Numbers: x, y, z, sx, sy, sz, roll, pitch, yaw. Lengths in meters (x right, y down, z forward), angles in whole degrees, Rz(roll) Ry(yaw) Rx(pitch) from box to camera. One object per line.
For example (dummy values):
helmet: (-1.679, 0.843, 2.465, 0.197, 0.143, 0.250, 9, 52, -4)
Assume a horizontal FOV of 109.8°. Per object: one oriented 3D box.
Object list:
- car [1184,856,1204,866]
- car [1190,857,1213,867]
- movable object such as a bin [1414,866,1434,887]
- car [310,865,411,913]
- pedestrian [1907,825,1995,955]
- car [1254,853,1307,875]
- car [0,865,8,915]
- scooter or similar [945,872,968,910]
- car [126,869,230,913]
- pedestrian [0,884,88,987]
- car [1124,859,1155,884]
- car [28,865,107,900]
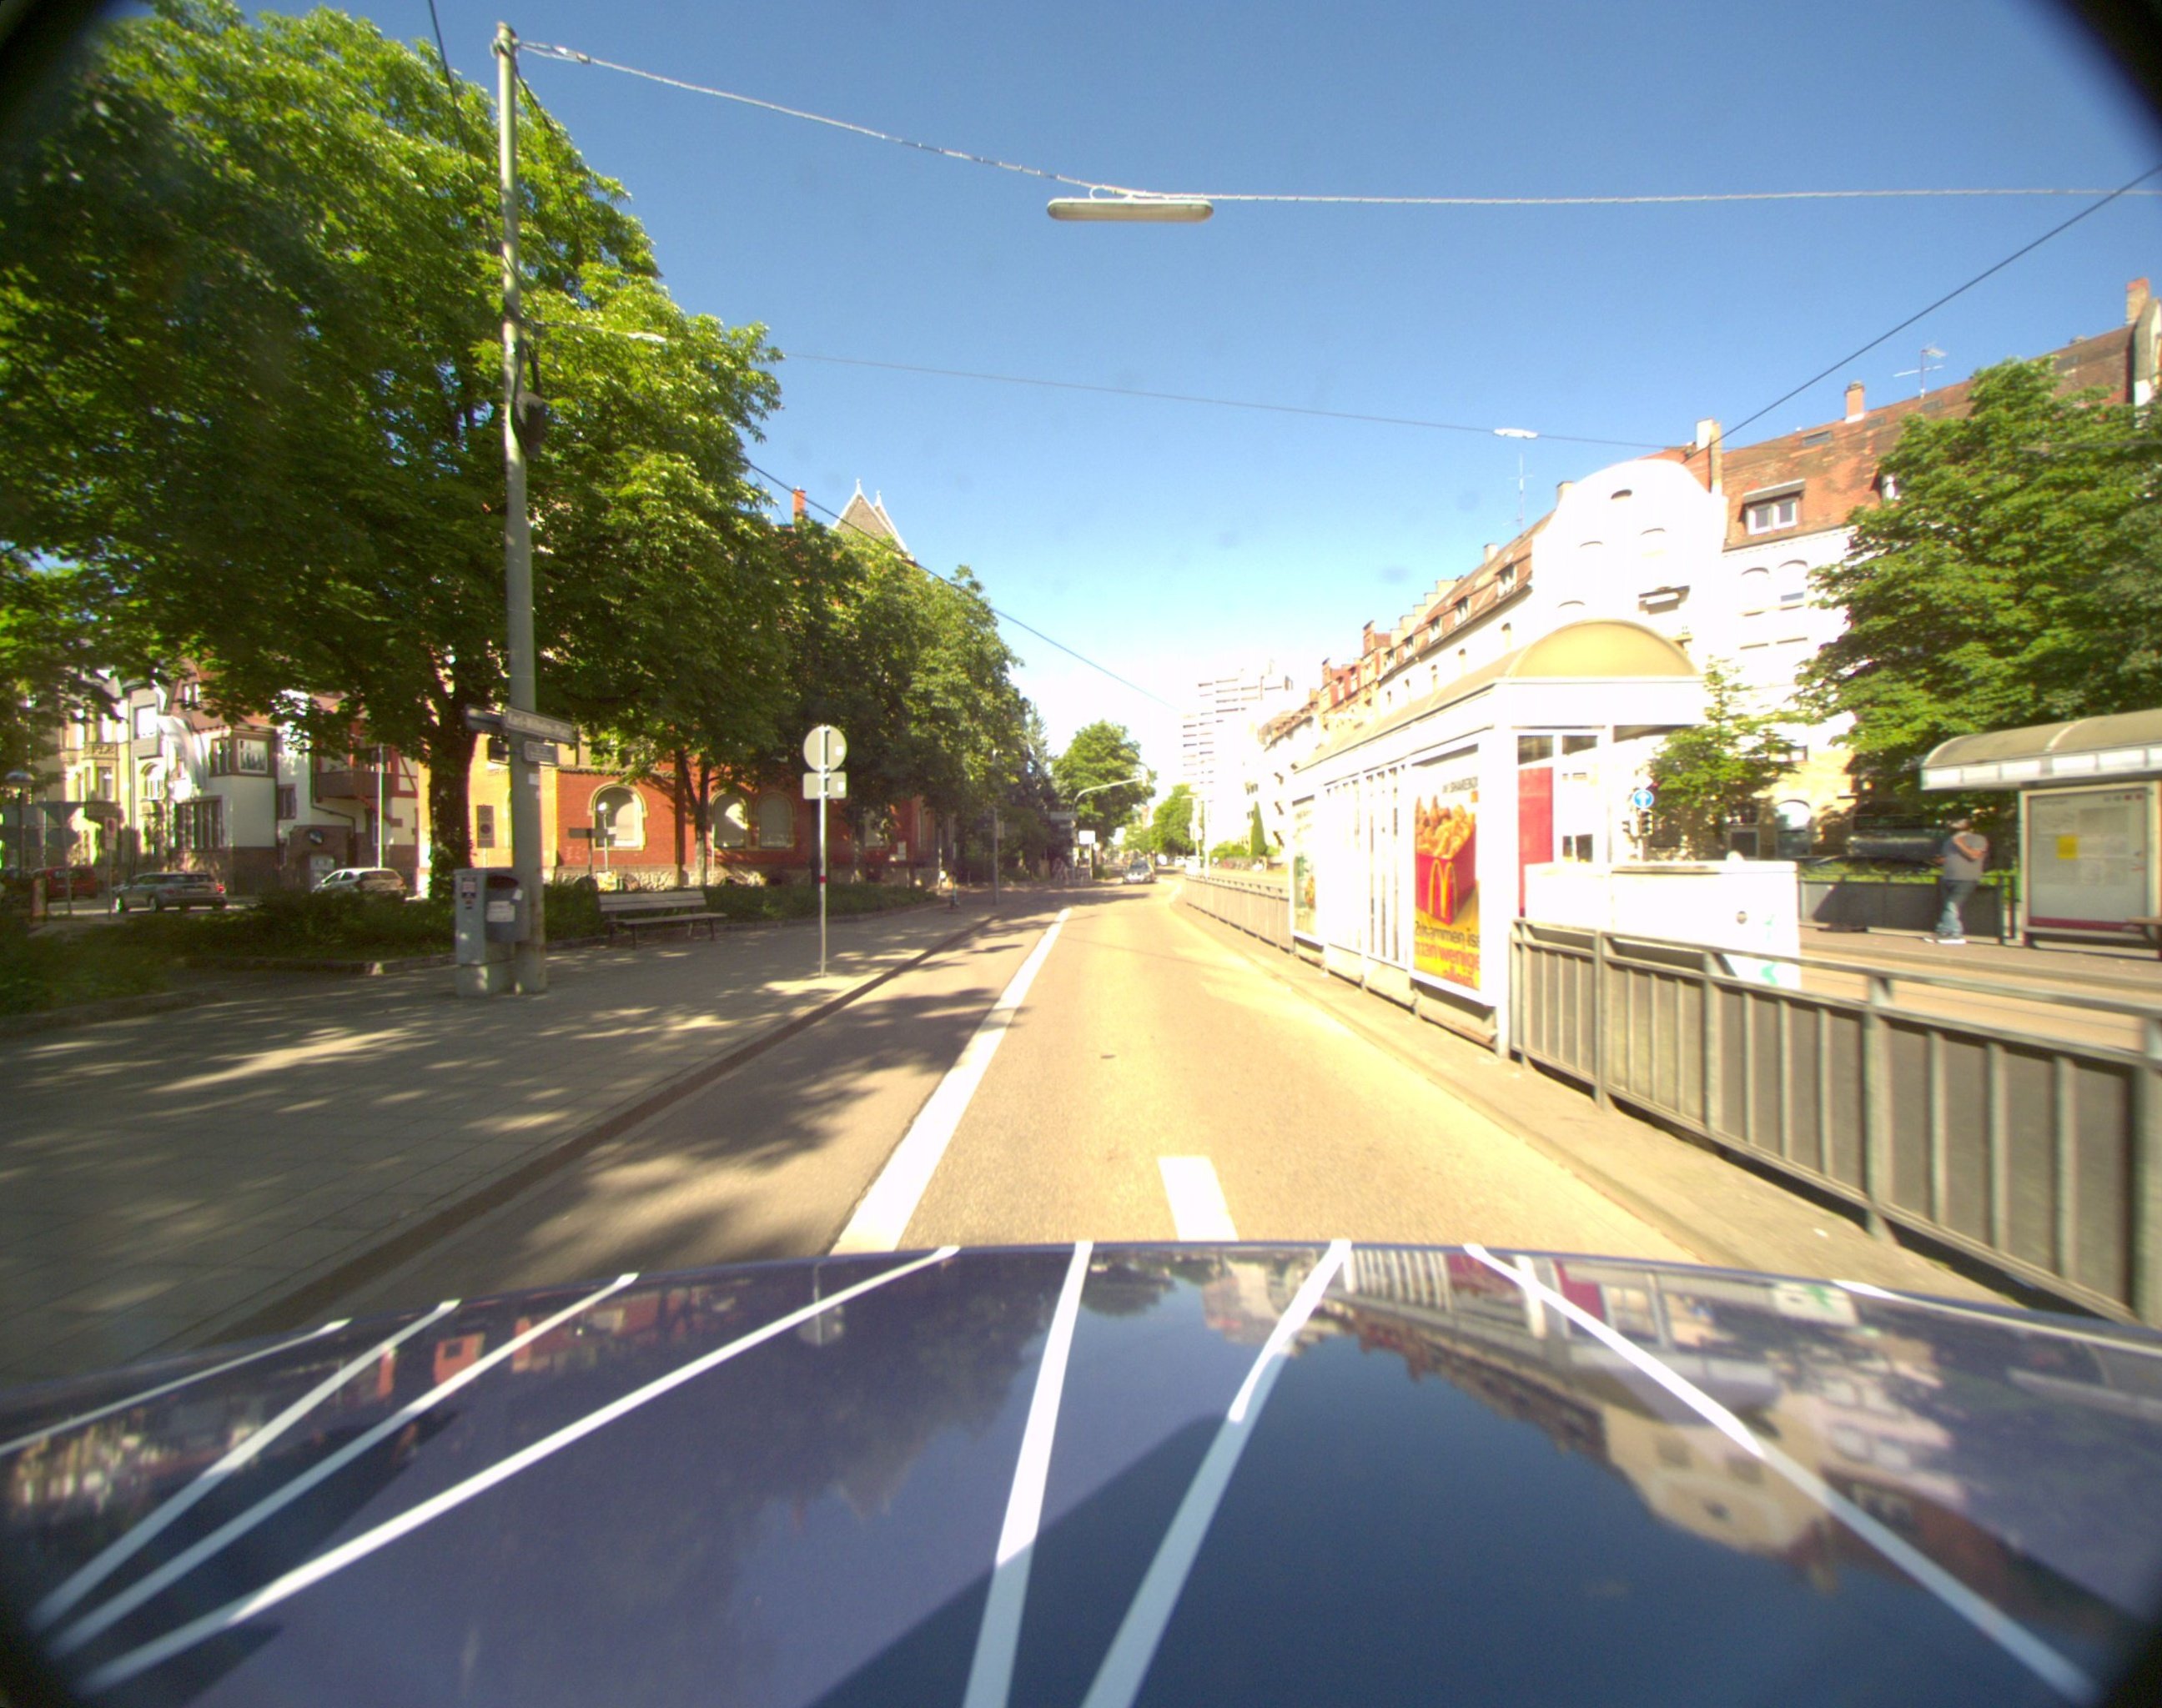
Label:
car: (18.124, 1.169, 121.729, 1.565, 1.412, 3.229, -2, 0, 45)
car: (18.650, 1.239, 117.749, 3.214, 1.412, 1.572, -2, 0, 33)
movable object such as a bin: (22.172, 1.444, 49.137, 0.878, 1.301, 0.748, -2, 0, -5)
car: (-28.150, 1.360, 29.673, 3.794, 1.707, 1.638, -2, 0, 27)
pedestrian: (12.266, 0.495, 10.727, 0.466, 1.774, 0.673, -1, 1, 0)
car: (16.641, 0.800, 63.464, 3.886, 1.581, 1.816, -2, 4, -3)
car: (-34.381, 1.151, 22.090, 1.496, 1.510, 3.352, -2, 0, 20)
scooter or similar: (-4.125, 1.223, 25.225, 0.519, 1.241, 1.276, -1, -2, 2)
car: (-32.410, 1.317, 27.264, 3.539, 1.449, 1.638, -2, 0, 27)
pedestrian: (-13.401, 1.016, 9.529, 0.450, 1.224, 1.041, -2, 0, 2)
car: (3.570, 1.065, 46.643, 1.725, 1.390, 3.613, -2, 0, 2)
car: (-54.156, 1.528, 40.610, 3.794, 1.707, 1.637, -2, 0, 23)
